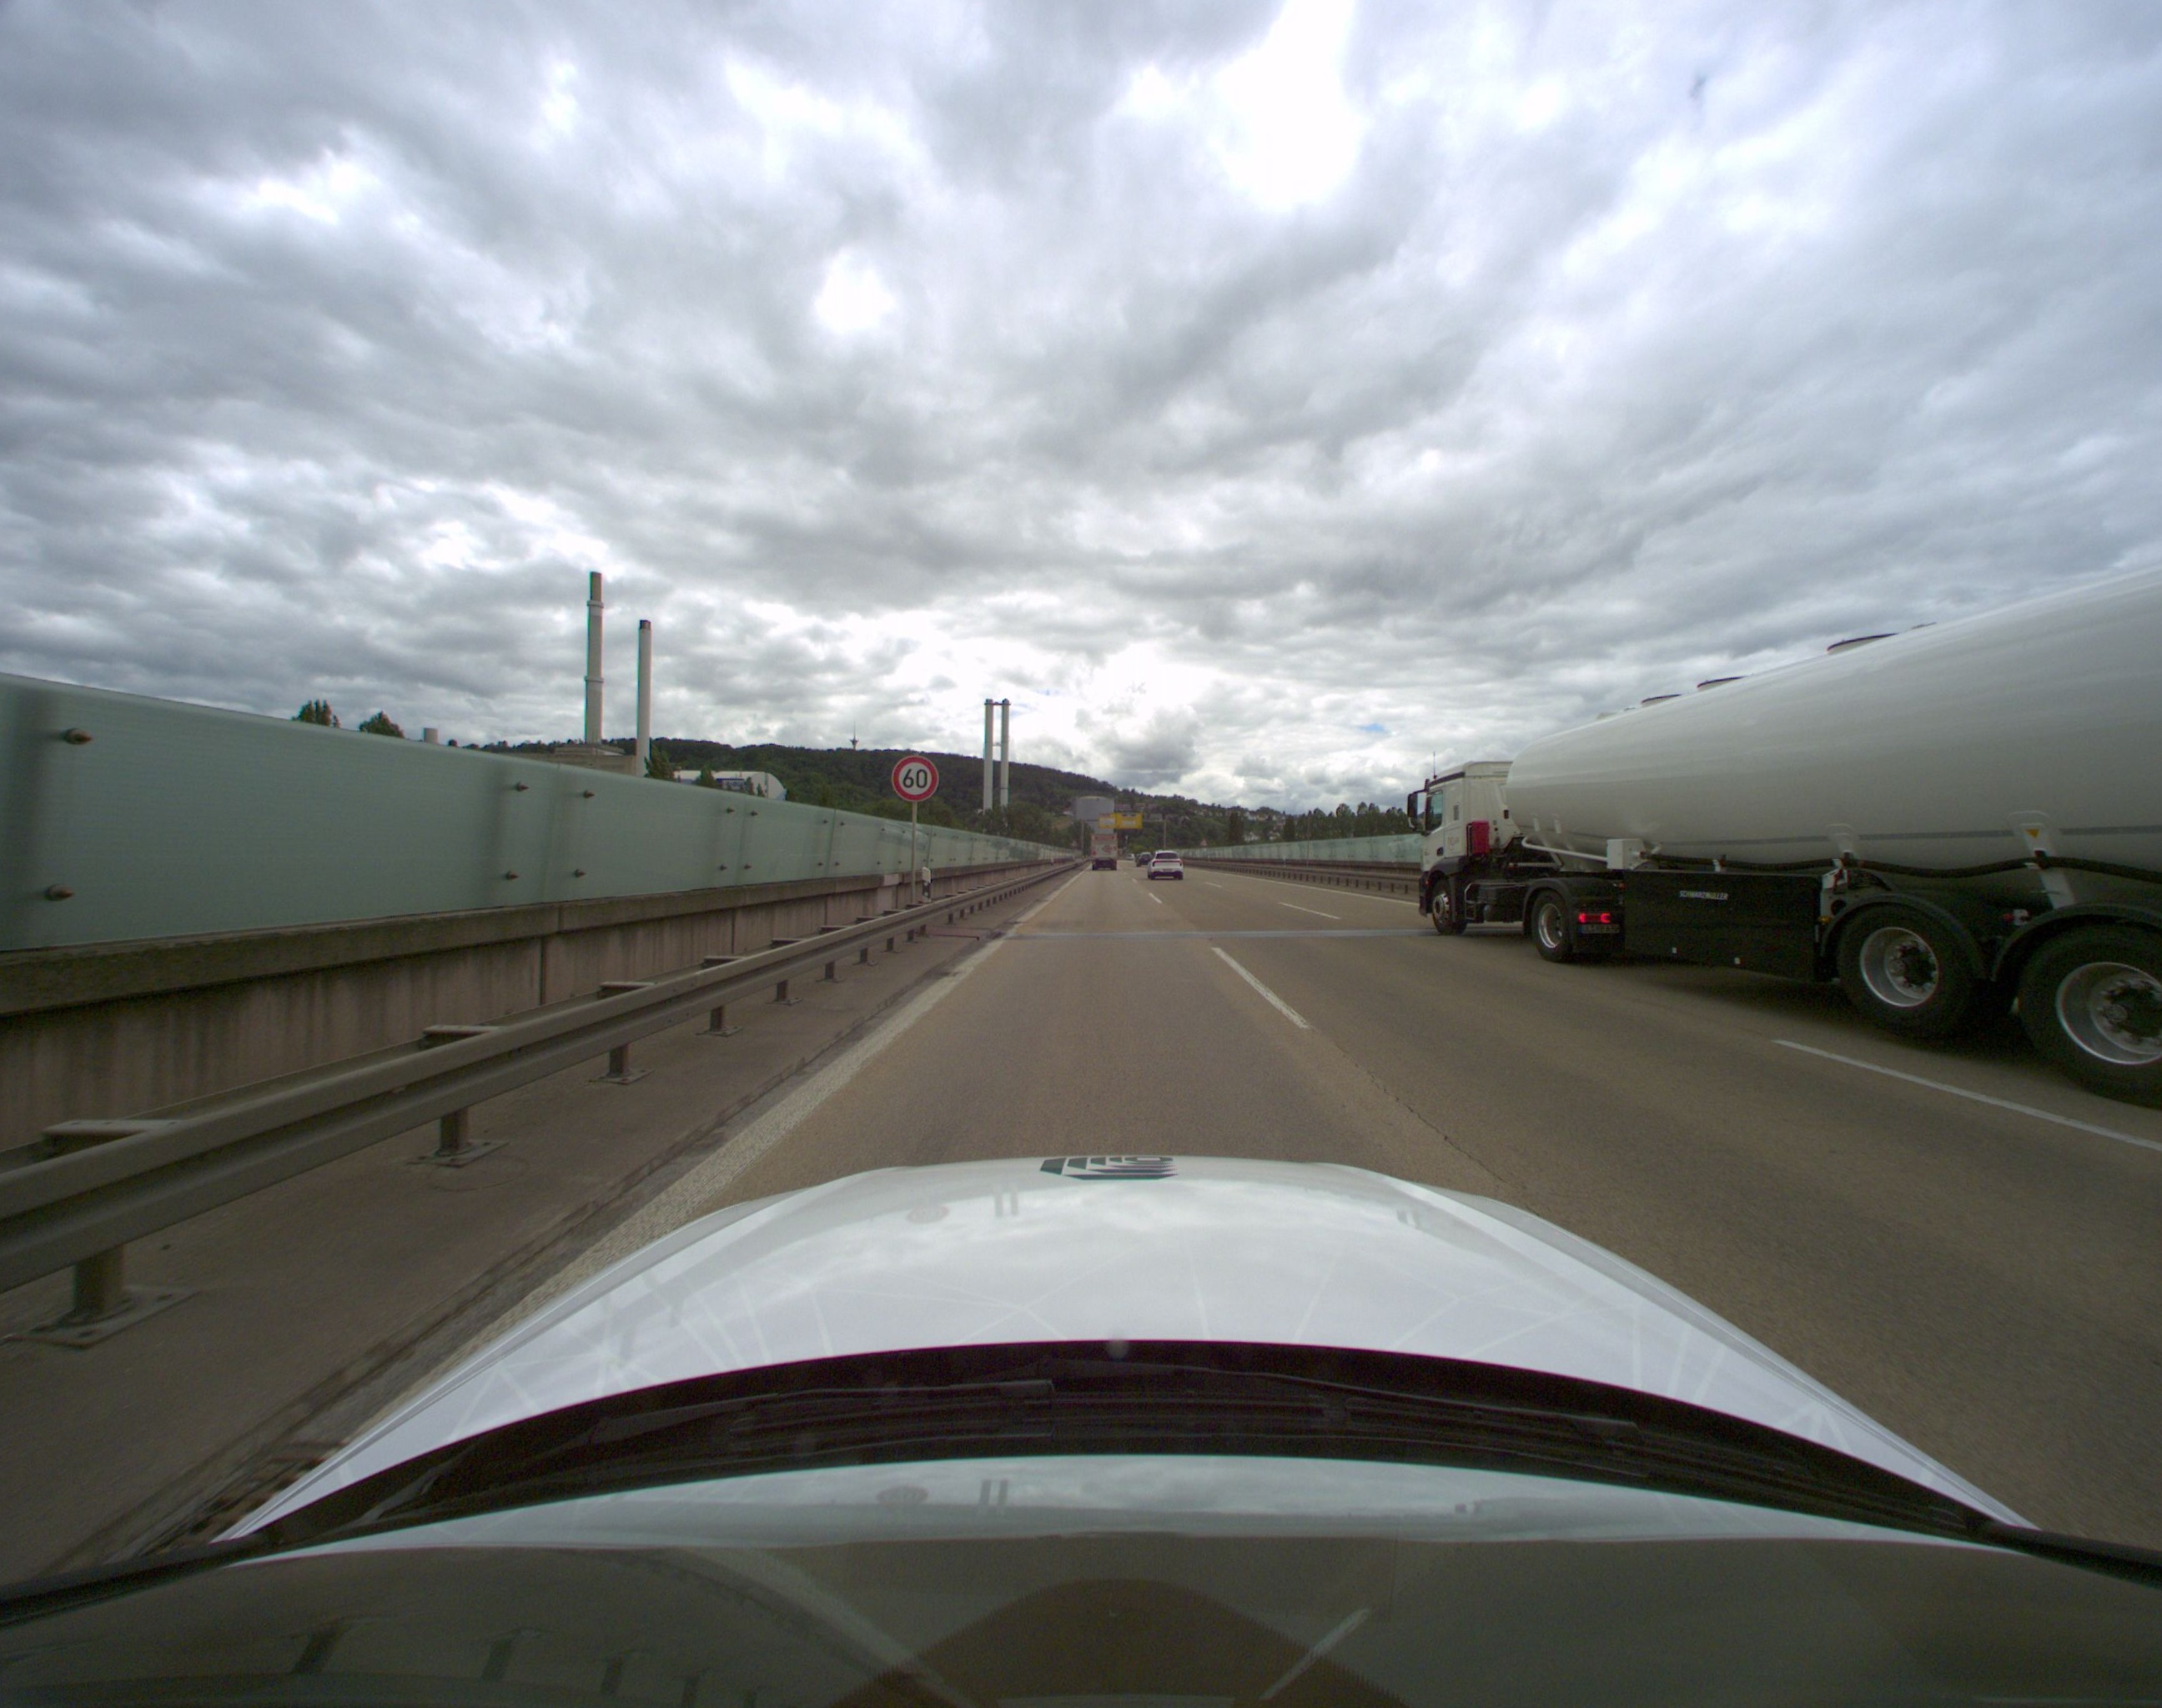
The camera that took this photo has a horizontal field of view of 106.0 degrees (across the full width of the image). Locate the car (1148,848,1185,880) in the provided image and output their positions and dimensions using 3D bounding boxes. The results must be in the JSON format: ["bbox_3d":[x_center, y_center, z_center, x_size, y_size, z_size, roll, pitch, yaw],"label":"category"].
[{"bbox_3d":[4.972,0.564,47.957,1.916,1.785,4.115,0,0,2],"label":"car"}]

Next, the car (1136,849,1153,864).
[{"bbox_3d":[7.832,0.331,100.590,1.916,1.785,4.115,0,0,2],"label":"car"}]

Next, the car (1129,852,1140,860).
[{"bbox_3d":[9.988,0.303,151.926,1.915,1.434,4.118,0,0,5],"label":"car"}]

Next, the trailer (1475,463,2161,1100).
[{"bbox_3d":[7.442,-0.398,7.365,2.640,3.543,11.225,-1,0,2],"label":"trailer"}]

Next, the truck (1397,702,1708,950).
[{"bbox_3d":[7.673,-0.393,14.078,2.621,3.514,4.906,-1,0,2],"label":"truck"}]

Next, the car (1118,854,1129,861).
[{"bbox_3d":[11.985,0.905,231.010,2.457,1.979,5.175,-1,0,11],"label":"car"}]

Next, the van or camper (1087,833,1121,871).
[{"bbox_3d":[2.385,-0.192,81.046,3.109,3.579,8.556,-1,0,3],"label":"van or camper"}]
